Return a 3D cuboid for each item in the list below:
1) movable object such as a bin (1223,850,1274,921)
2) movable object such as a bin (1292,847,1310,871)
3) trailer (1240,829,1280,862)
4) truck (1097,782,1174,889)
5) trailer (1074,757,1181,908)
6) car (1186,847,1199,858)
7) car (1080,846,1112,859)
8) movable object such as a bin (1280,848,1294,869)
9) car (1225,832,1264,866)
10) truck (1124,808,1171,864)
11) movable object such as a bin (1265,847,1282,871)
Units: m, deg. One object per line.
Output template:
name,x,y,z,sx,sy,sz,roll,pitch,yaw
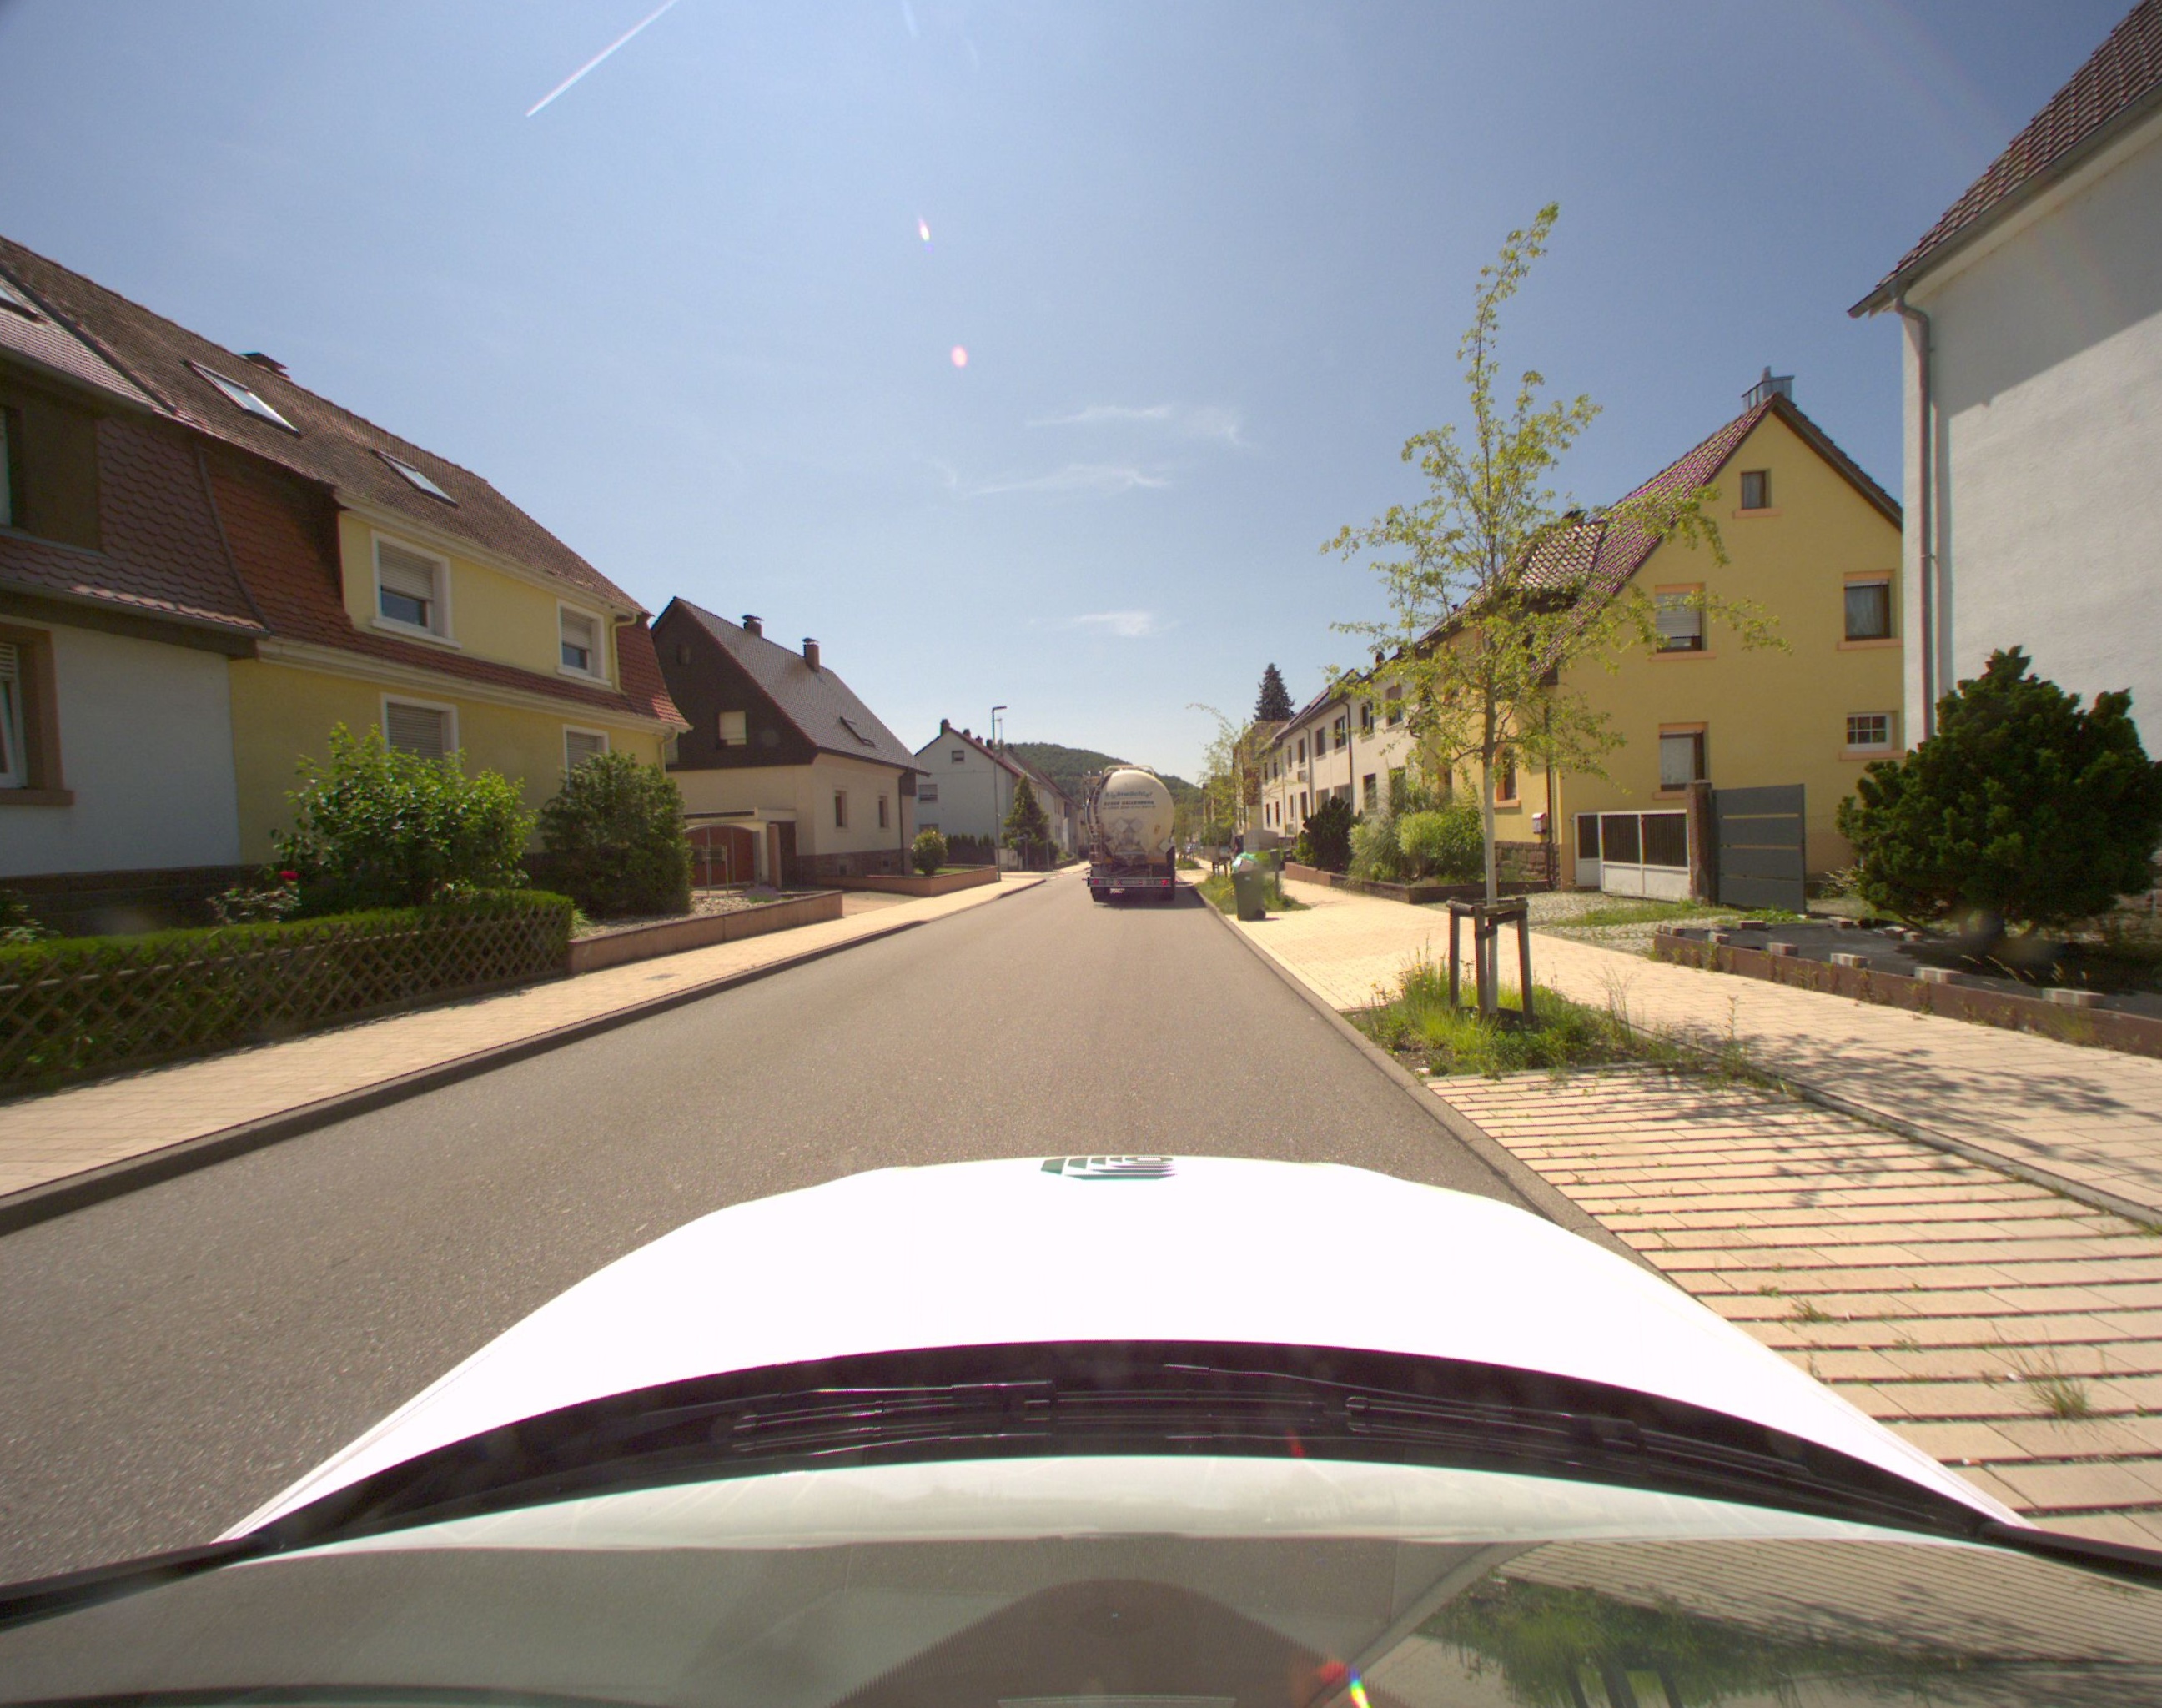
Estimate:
movable object such as a bin,3.510,0.647,17.183,0.789,1.395,0.926,-6,0,2
movable object such as a bin,11.018,0.251,40.800,0.680,1.106,0.865,-5,-1,11
trailer,11.032,-0.525,50.137,2.286,2.013,1.308,-1,0,-43
truck,2.304,-0.705,32.956,2.795,3.936,6.109,0,1,5
trailer,1.729,-0.632,27.027,2.782,4.000,10.340,-1,1,5
car,16.856,-0.183,123.287,1.781,1.541,4.528,-4,0,6
car,2.081,-0.248,113.965,4.375,1.750,1.880,-1,0,3
movable object such as a bin,10.355,0.240,40.979,0.554,0.986,0.805,-6,-1,11
car,11.005,-0.316,55.072,1.844,1.970,4.779,-7,0,5
truck,6.269,-1.642,78.511,3.894,4.895,9.803,-3,0,3
movable object such as a bin,9.657,0.260,40.904,0.680,1.115,0.814,-5,-1,10
